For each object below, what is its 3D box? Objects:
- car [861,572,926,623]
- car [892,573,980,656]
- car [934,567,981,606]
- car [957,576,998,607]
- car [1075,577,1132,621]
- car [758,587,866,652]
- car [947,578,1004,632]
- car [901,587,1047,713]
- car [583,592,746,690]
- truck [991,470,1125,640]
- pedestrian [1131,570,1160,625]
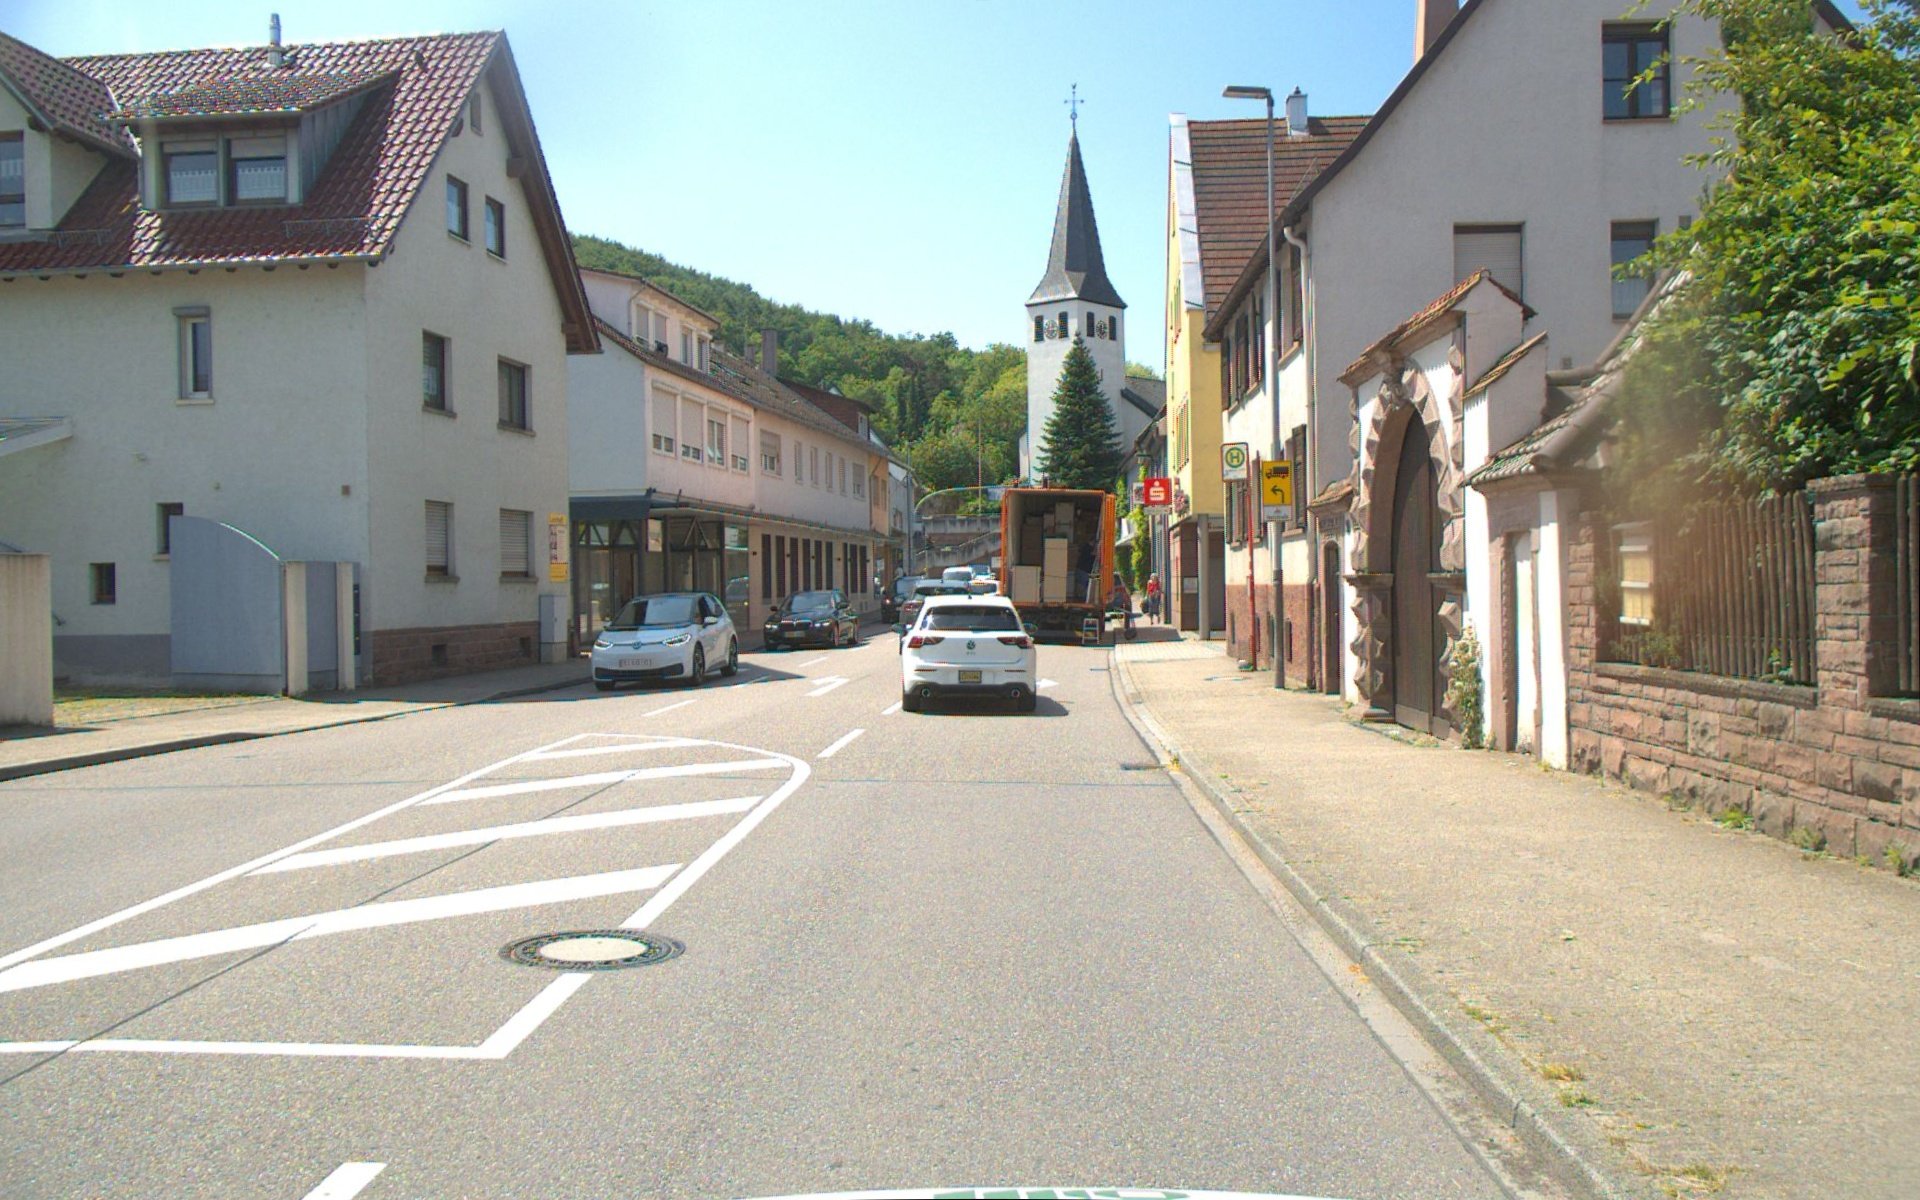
[{"bbox_3d":[-2.425,-0.114,61.159,1.655,1.728,4.116,-2,1,8],"label":"car"},{"bbox_3d":[-0.488,0.310,36.570,1.778,1.657,4.000,-2,0,0],"label":"car"},{"bbox_3d":[-0.084,-0.681,81.234,1.763,1.811,4.708,-2,1,6],"label":"car"},{"bbox_3d":[1.046,-0.501,95.373,1.951,1.680,4.003,-2,0,6],"label":"car"},{"bbox_3d":[5.382,-0.026,62.284,1.778,1.545,4.000,-2,0,0],"label":"car"},{"bbox_3d":[-3.698,0.473,42.035,1.755,1.519,4.425,-2,0,8],"label":"car"},{"bbox_3d":[0.512,0.167,54.596,1.778,1.657,4.000,-2,0,0],"label":"car"},{"bbox_3d":[0.183,0.622,22.256,1.778,1.545,4.000,0,0,0],"label":"car"},{"bbox_3d":[-5.062,0.667,28.890,1.758,1.534,4.136,-2,0,4],"label":"car"},{"bbox_3d":[2.746,-1.144,47.234,3.297,4.243,9.522,-2,0,3],"label":"truck"},{"bbox_3d":[6.063,-0.082,54.071,0.753,1.773,0.870,-2,-1,-1],"label":"pedestrian"}]
